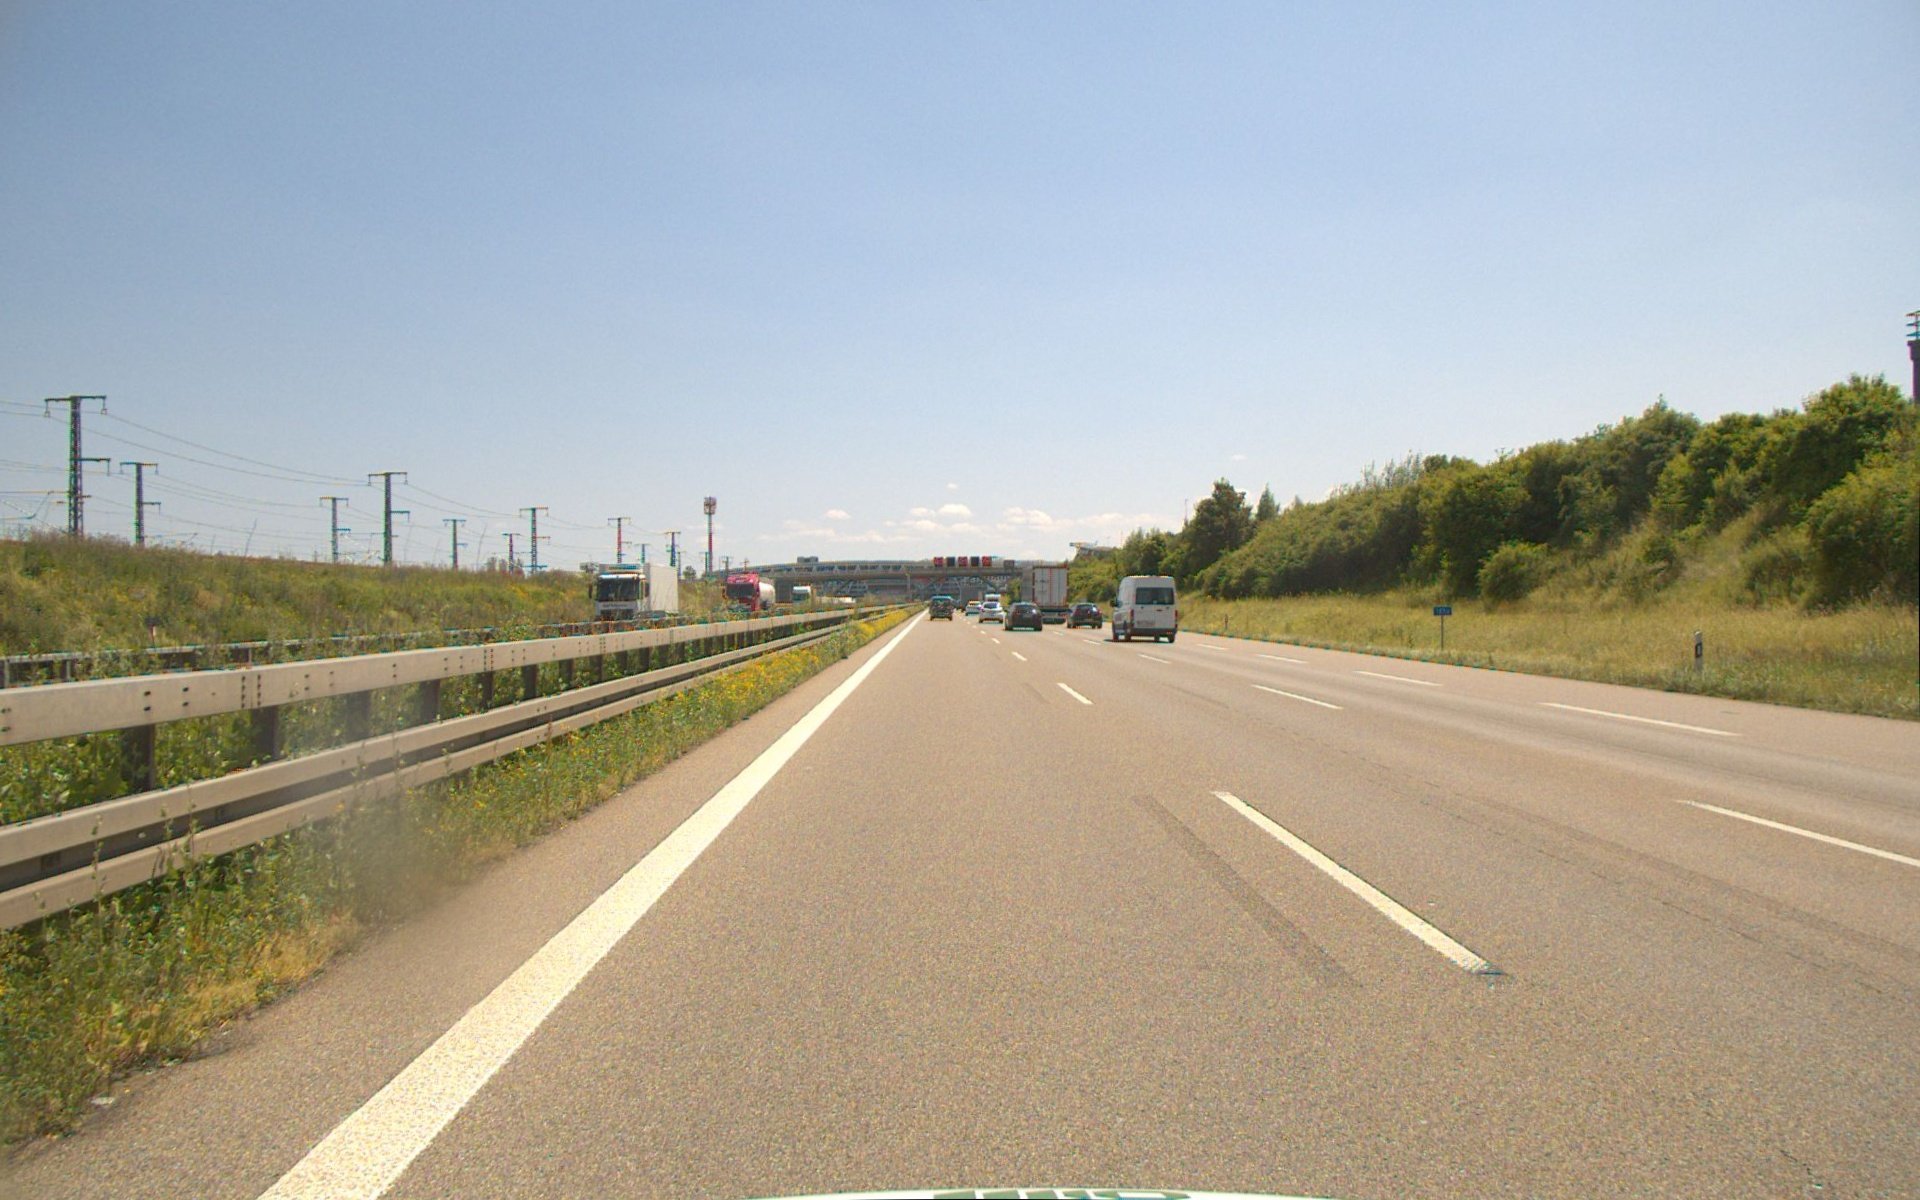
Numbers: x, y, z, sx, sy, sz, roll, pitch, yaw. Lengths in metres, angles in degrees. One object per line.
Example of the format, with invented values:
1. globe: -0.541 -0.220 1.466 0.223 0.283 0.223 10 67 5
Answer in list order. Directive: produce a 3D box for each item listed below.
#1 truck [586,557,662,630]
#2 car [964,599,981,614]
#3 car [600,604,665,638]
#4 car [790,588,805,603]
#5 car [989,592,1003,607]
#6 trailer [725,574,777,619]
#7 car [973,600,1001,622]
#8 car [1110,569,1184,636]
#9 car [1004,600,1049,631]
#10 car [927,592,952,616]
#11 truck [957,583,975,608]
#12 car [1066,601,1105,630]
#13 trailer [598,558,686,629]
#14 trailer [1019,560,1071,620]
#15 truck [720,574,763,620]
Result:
1. truck: -16.534 -0.314 81.644 2.731 3.447 4.712 1 0 -1
2. car: 1.318 0.715 177.153 1.842 1.553 4.000 1 -1 0
3. car: -13.477 0.846 68.284 1.953 1.329 4.202 -1 0 -2
4. car: -23.071 -0.655 234.980 1.954 2.049 3.996 0 0 -4
5. car: 5.332 -0.081 245.737 1.952 2.049 4.437 -1 0 1
6. trailer: -17.621 -0.273 140.238 2.731 3.583 13.839 1 0 -1
7. car: 1.934 0.778 117.732 1.841 1.553 4.001 1 -1 2
8. car: 7.464 0.073 66.589 2.228 2.572 5.397 0 0 -2
9. car: 3.520 0.838 88.107 1.954 1.534 3.997 2 -1 -3
10. car: -1.592 0.345 127.880 1.842 1.806 3.999 0 -1 -1
11. truck: 0.820 -0.616 227.940 2.307 3.476 6.056 0 0 -1
12. car: 7.490 0.947 98.960 1.953 1.624 3.998 2 -1 -1
13. trailer: -16.574 -0.312 86.839 2.731 3.447 9.581 1 0 -1
14. trailer: 6.110 -0.706 120.145 3.113 4.130 9.438 -1 0 -1
15. truck: -17.579 -0.262 133.247 2.731 3.583 4.712 1 0 -1
